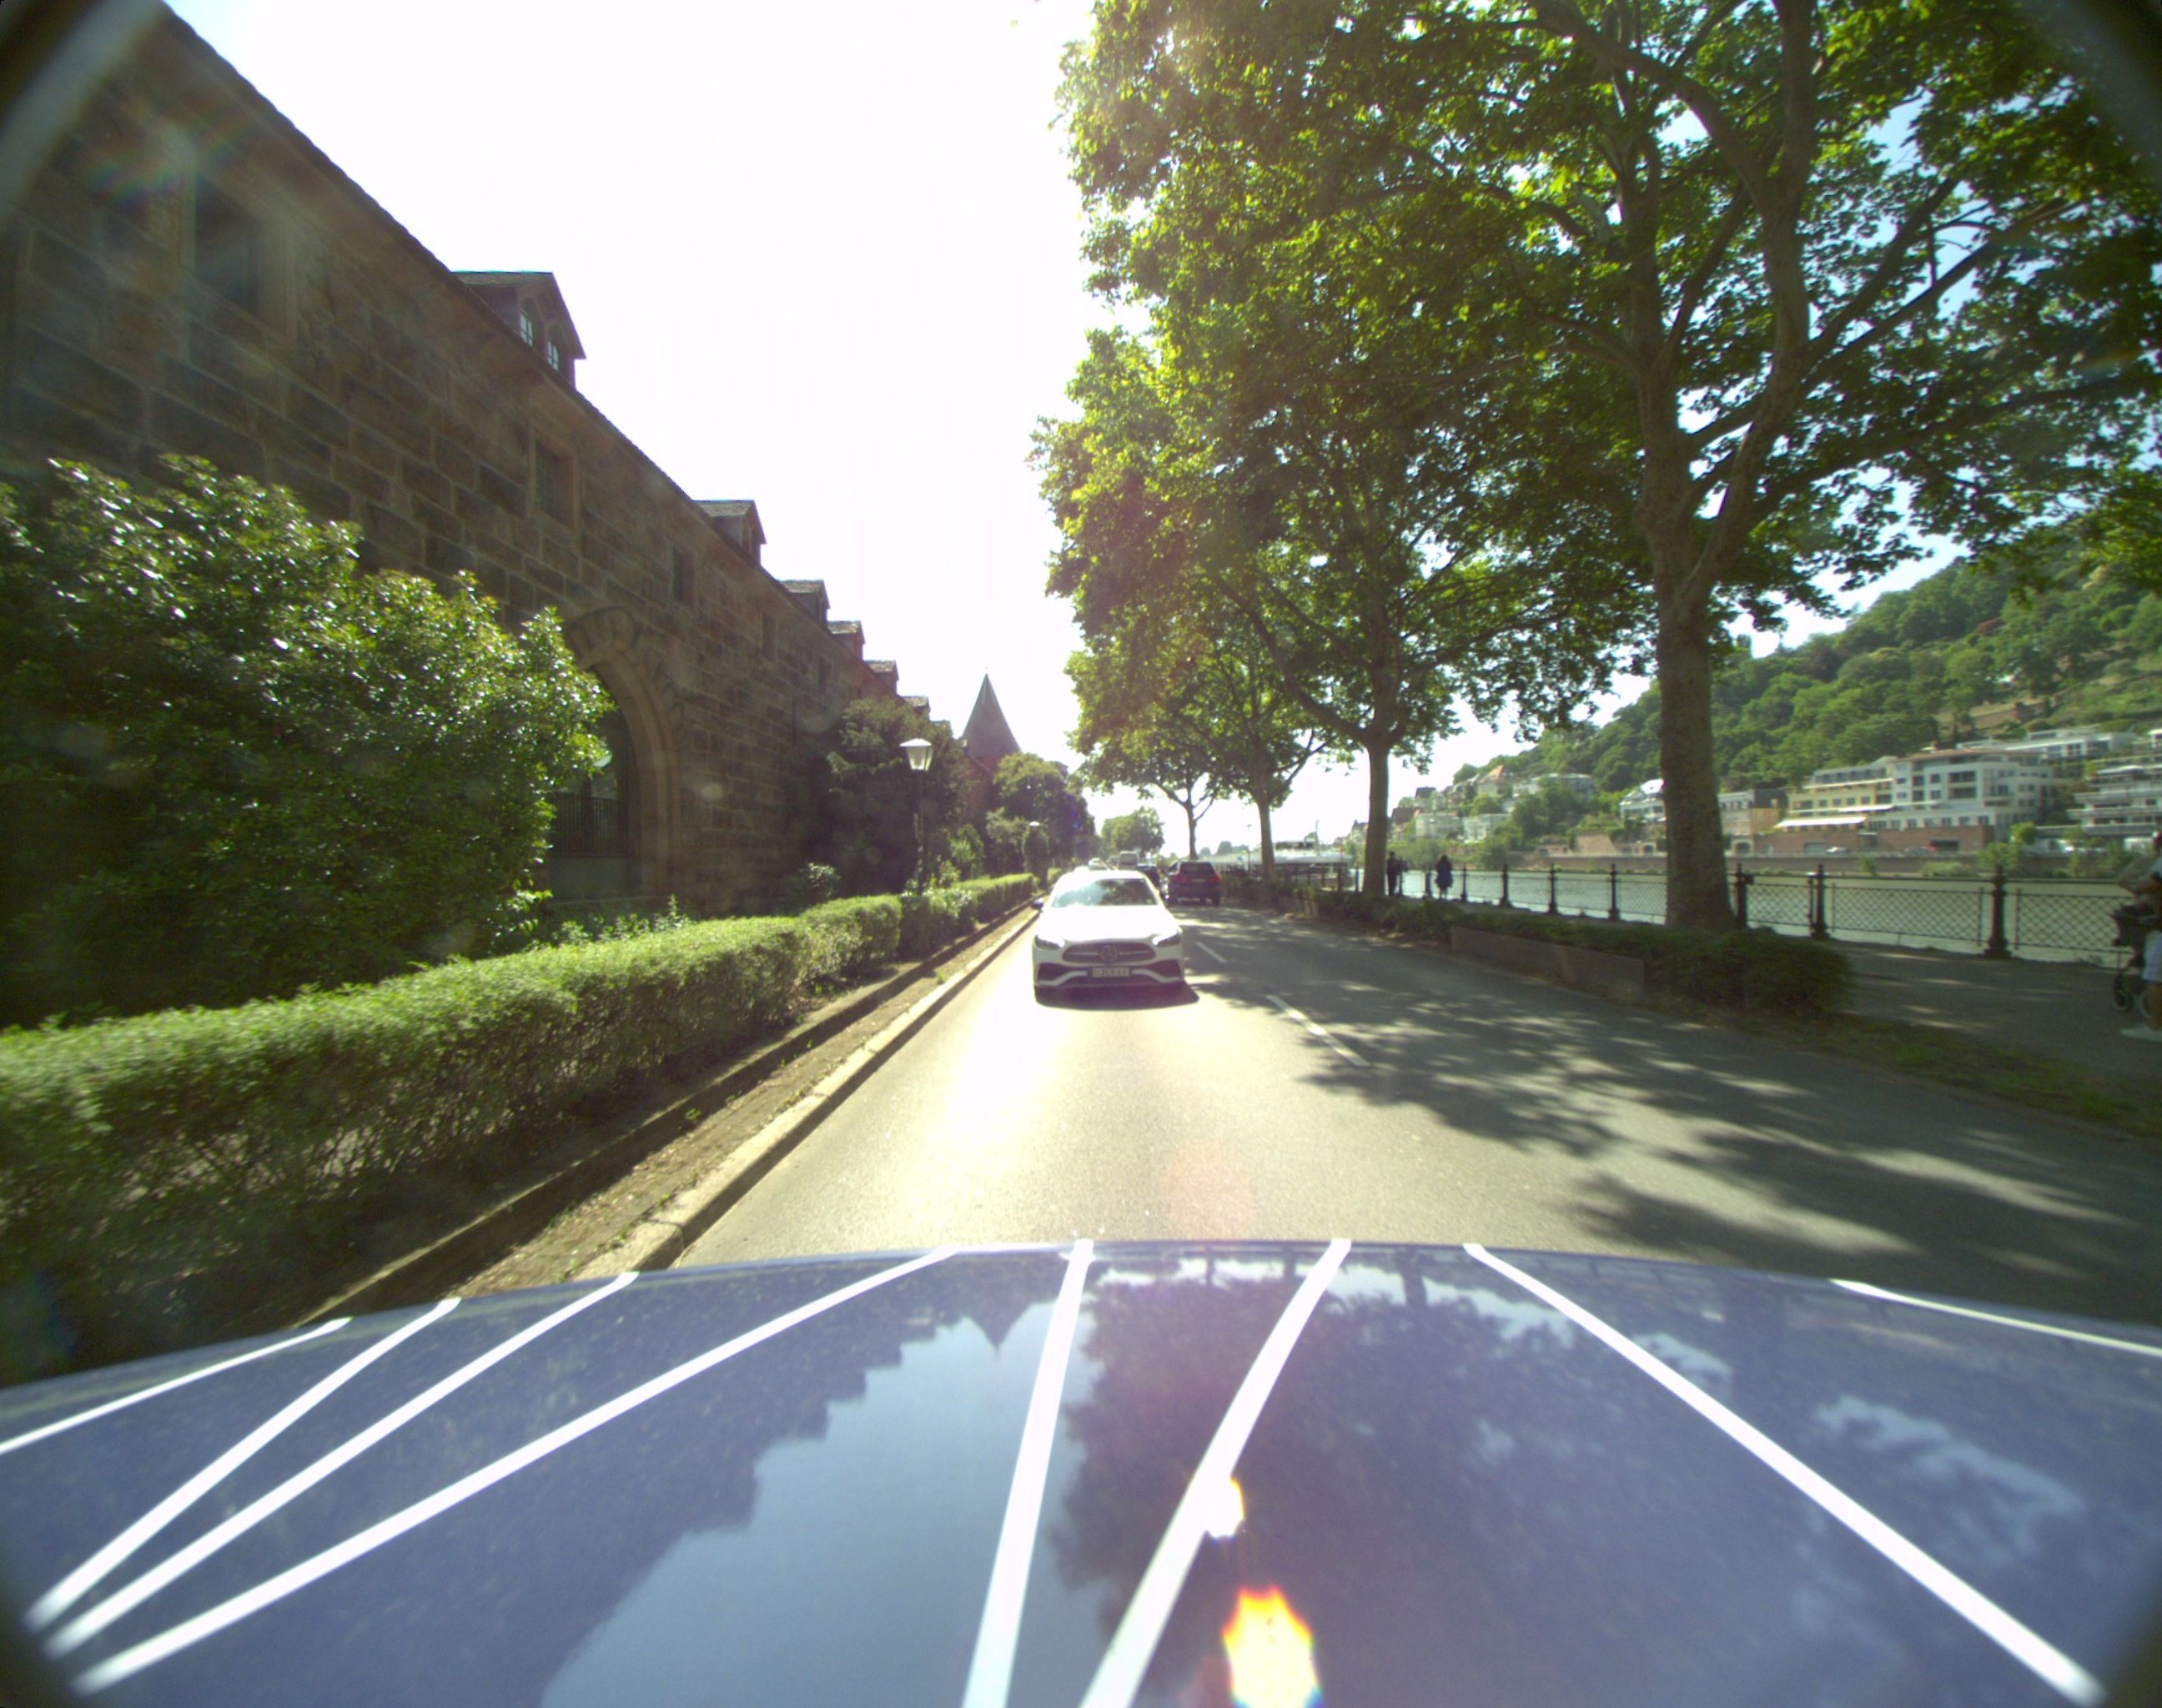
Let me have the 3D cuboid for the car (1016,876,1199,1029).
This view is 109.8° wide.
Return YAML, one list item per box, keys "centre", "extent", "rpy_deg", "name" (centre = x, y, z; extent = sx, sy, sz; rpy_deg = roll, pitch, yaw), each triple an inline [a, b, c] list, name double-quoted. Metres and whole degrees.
- centre: [0.308, 1.069, 9.955]
  extent: [1.829, 1.418, 4.359]
  rpy_deg: [-2, 0, 1]
  name: "car"

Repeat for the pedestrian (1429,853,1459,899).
- centre: [12.638, 0.756, 26.480]
  extent: [0.705, 1.594, 0.705]
  rpy_deg: [-1, 1, 3]
  name: "pedestrian"

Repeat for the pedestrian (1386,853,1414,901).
- centre: [11.669, 0.817, 27.818]
  extent: [0.705, 1.721, 0.705]
  rpy_deg: [-1, 1, 3]
  name: "pedestrian"

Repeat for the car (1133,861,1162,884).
- centre: [4.359, 1.223, 50.558]
  extent: [1.653, 1.460, 3.779]
  rpy_deg: [0, 0, 1]
  name: "car"

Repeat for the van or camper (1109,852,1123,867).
- centre: [6.517, 1.014, 140.329]
  extent: [2.328, 2.646, 6.264]
  rpy_deg: [1, 0, 1]
  name: "van or camper"

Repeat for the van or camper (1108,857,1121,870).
- centre: [6.899, 1.866, 156.046]
  extent: [2.328, 2.646, 6.264]
  rpy_deg: [1, 0, 1]
  name: "van or camper"

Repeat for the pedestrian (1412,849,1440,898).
- centre: [12.752, 0.715, 28.110]
  extent: [0.705, 1.786, 0.705]
  rpy_deg: [-1, 1, 3]
  name: "pedestrian"

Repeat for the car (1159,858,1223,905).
- centre: [4.159, 0.992, 29.354]
  extent: [1.881, 1.688, 4.259]
  rpy_deg: [0, 0, 0]
  name: "car"

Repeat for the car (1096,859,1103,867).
- centre: [4.847, 2.421, 200.311]
  extent: [1.923, 1.975, 4.000]
  rpy_deg: [0, 0, 0]
  name: "car"

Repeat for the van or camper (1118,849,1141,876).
- centre: [4.751, 0.840, 75.210]
  extent: [1.965, 2.552, 5.841]
  rpy_deg: [1, 0, 1]
  name: "van or camper"

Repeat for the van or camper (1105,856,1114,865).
- centre: [6.517, 1.420, 173.000]
  extent: [1.923, 1.975, 4.000]
  rpy_deg: [0, 0, 0]
  name: "van or camper"

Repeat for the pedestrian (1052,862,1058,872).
- centre: [-3.474, 1.717, 100.951]
  extent: [0.632, 1.186, 0.747]
  rpy_deg: [-3, 0, 3]
  name: "pedestrian"

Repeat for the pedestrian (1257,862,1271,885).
- centre: [10.975, 1.154, 45.546]
  extent: [0.656, 1.300, 0.705]
  rpy_deg: [-3, 0, 1]
  name: "pedestrian"

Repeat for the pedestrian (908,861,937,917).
- centre: [-4.712, 1.022, 22.632]
  extent: [0.700, 1.643, 0.705]
  rpy_deg: [0, 0, 3]
  name: "pedestrian"

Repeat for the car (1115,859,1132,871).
- centre: [5.296, 1.337, 95.283]
  extent: [1.774, 1.448, 4.534]
  rpy_deg: [0, 0, 0]
  name: "car"

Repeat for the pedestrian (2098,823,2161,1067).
- centre: [8.546, 0.696, 5.736]
  extent: [0.642, 1.859, 0.806]
  rpy_deg: [0, 0, 2]
  name: "pedestrian"

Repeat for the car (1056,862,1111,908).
- centre: [0.137, 1.064, 27.446]
  extent: [1.854, 1.543, 3.849]
  rpy_deg: [0, 0, 1]
  name: "car"
